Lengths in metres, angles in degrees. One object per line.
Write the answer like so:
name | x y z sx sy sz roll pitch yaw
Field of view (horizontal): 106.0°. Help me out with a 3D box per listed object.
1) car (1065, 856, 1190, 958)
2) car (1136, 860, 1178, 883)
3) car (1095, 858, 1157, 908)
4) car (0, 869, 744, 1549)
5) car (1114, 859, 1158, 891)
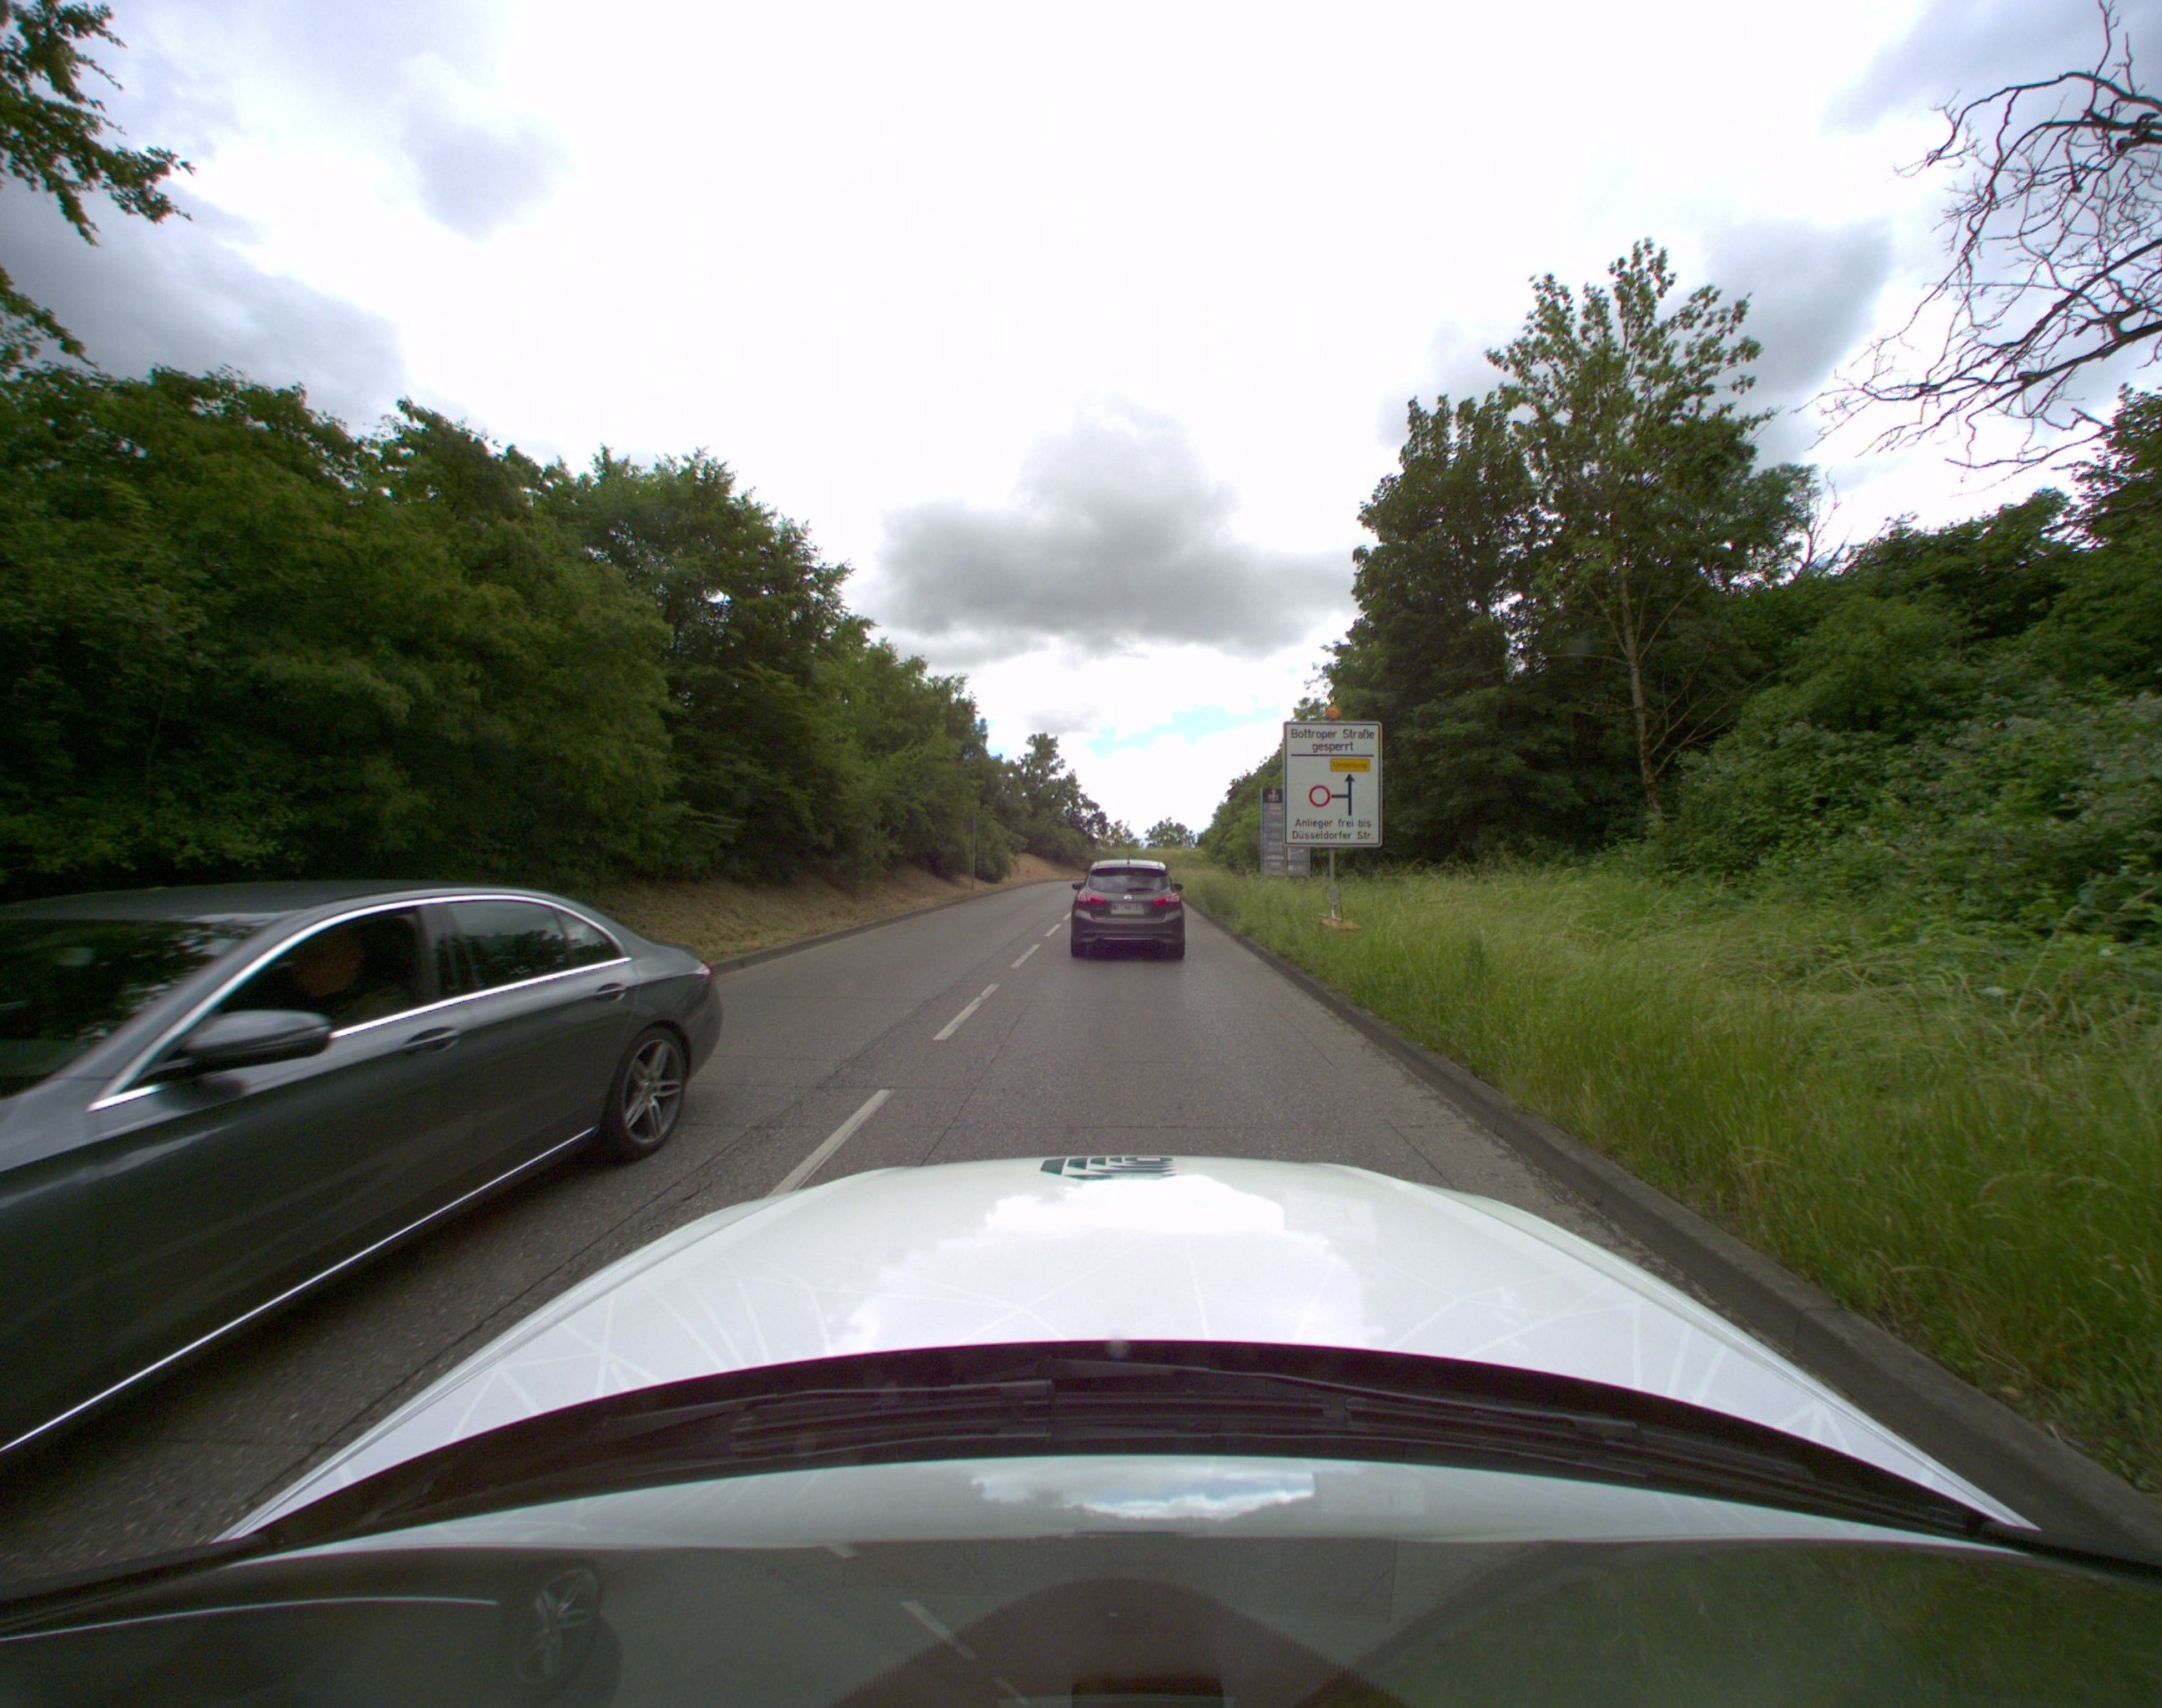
car | 0.712 0.795 13.968 1.838 1.493 4.000 0 -1 0
car | 5.040 1.138 53.683 1.783 1.398 4.019 -1 0 19
car | 1.412 0.894 27.122 1.838 1.493 4.227 -1 0 0
car | -3.165 0.796 2.975 1.823 1.405 4.435 0 0 3
car | 2.731 0.985 40.094 1.710 1.494 3.587 -1 0 11
